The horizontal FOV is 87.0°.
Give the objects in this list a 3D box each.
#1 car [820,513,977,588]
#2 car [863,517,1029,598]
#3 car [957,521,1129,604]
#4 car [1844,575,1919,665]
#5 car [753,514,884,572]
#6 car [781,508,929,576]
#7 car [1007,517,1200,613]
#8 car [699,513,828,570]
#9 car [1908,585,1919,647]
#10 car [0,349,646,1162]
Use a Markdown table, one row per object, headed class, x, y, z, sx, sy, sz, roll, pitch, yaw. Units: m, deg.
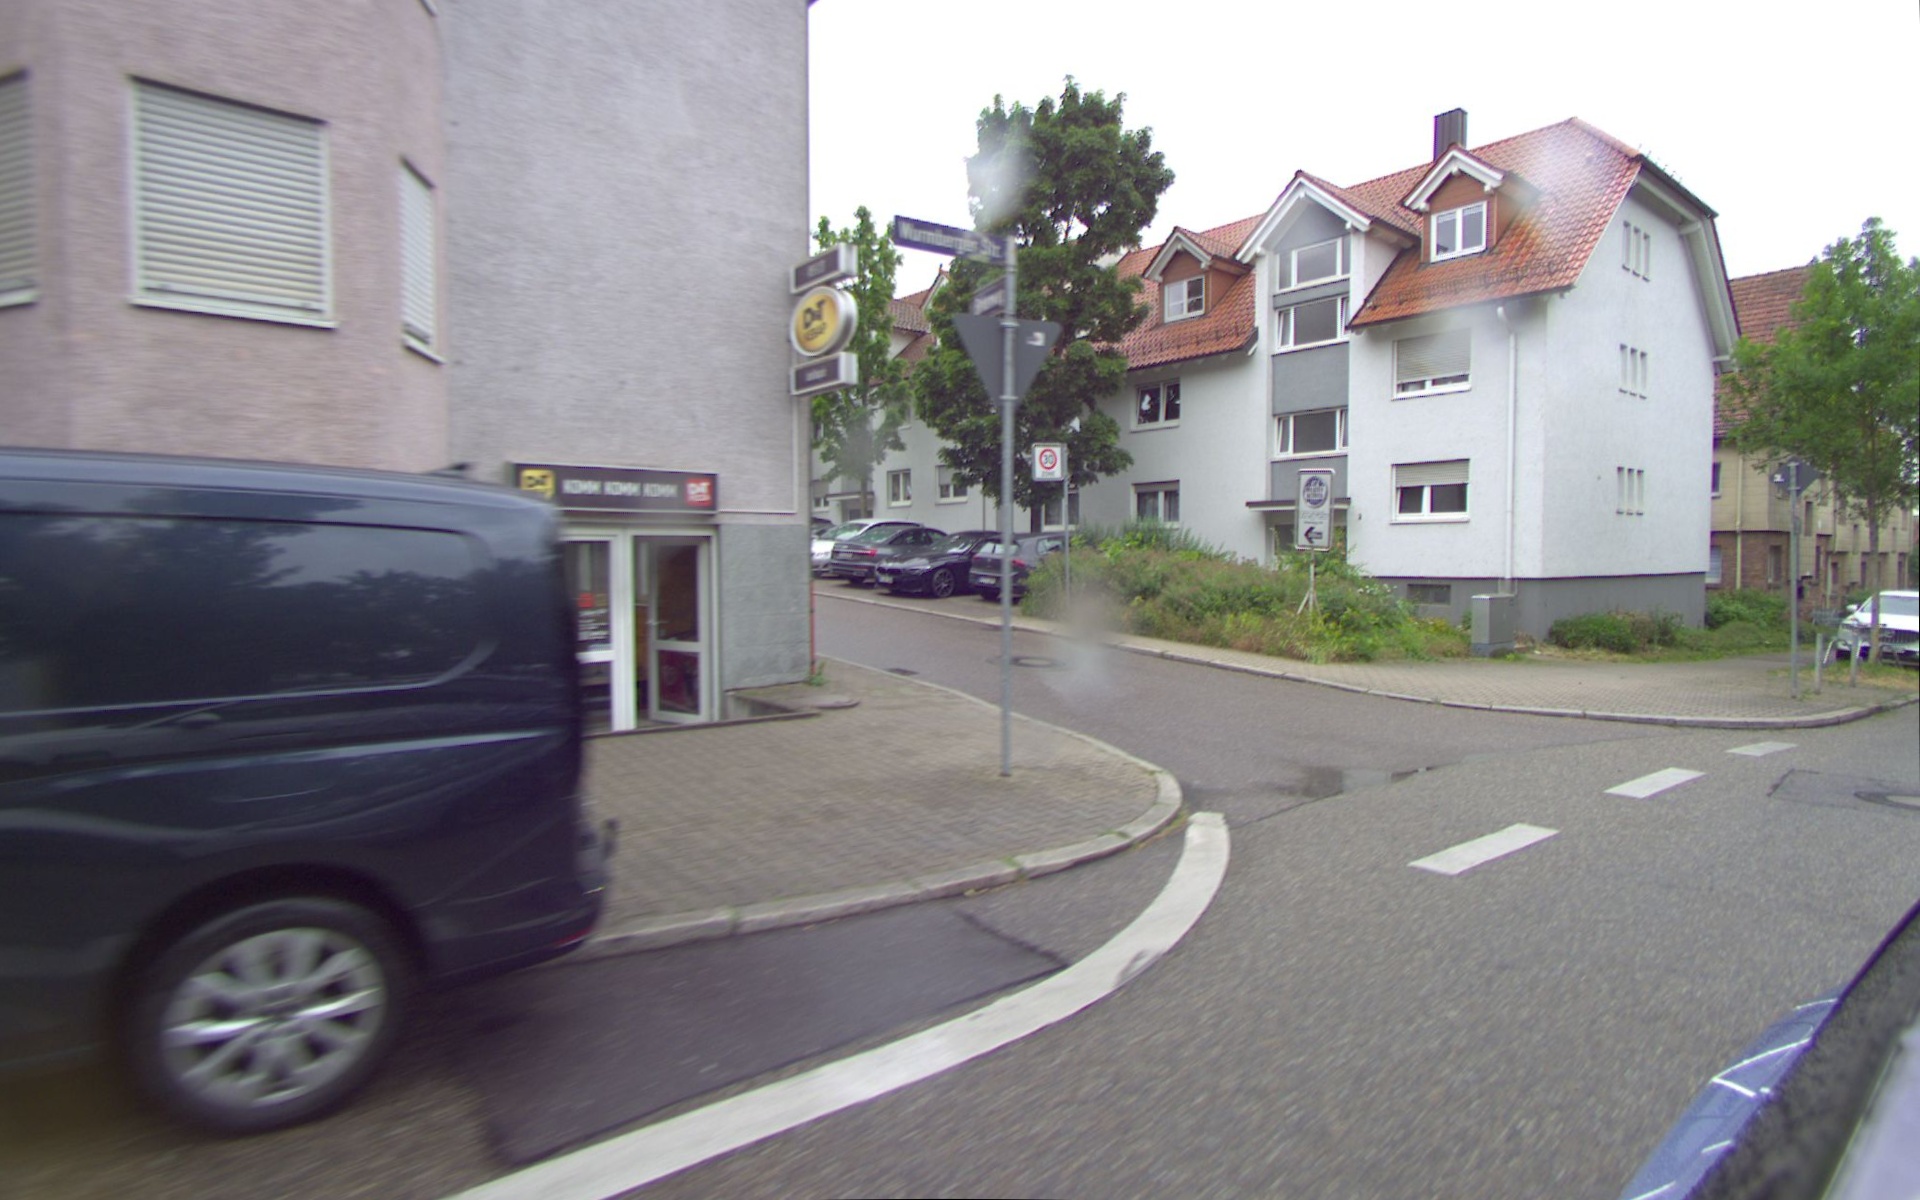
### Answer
| class | x | y | z | sx | sy | sz | roll | pitch | yaw |
| --- | --- | --- | --- | --- | --- | --- | --- | --- | --- |
| car | -1.495 | -1.302 | 25.249 | 3.608 | 1.652 | 1.650 | -5 | 8 | -37 |
| car | -0.294 | -1.040 | 23.162 | 3.559 | 1.652 | 1.600 | -4 | 7 | -38 |
| car | 1.850 | -0.891 | 22.056 | 3.536 | 1.601 | 1.650 | -3 | 7 | -38 |
| car | 20.873 | 0.404 | 21.890 | 4.458 | 1.794 | 1.829 | 0 | 2 | -38 |
| car | -4.114 | -1.727 | 29.745 | 3.540 | 1.527 | 1.598 | -5 | 8 | -41 |
| car | -2.851 | -1.632 | 27.851 | 3.835 | 1.703 | 1.648 | -4 | 7 | -42 |
| car | 2.872 | -0.671 | 20.023 | 3.606 | 1.704 | 1.686 | 1 | 3 | -38 |
| car | -5.982 | -1.838 | 30.960 | 3.539 | 1.527 | 1.599 | -6 | 8 | -40 |
| car | 24.804 | 0.383 | 24.968 | 3.928 | 1.466 | 1.644 | -1 | 1 | -41 |
| car | -3.460 | 0.322 | 2.765 | 4.666 | 1.914 | 1.936 | -1 | 5 | -30 |
